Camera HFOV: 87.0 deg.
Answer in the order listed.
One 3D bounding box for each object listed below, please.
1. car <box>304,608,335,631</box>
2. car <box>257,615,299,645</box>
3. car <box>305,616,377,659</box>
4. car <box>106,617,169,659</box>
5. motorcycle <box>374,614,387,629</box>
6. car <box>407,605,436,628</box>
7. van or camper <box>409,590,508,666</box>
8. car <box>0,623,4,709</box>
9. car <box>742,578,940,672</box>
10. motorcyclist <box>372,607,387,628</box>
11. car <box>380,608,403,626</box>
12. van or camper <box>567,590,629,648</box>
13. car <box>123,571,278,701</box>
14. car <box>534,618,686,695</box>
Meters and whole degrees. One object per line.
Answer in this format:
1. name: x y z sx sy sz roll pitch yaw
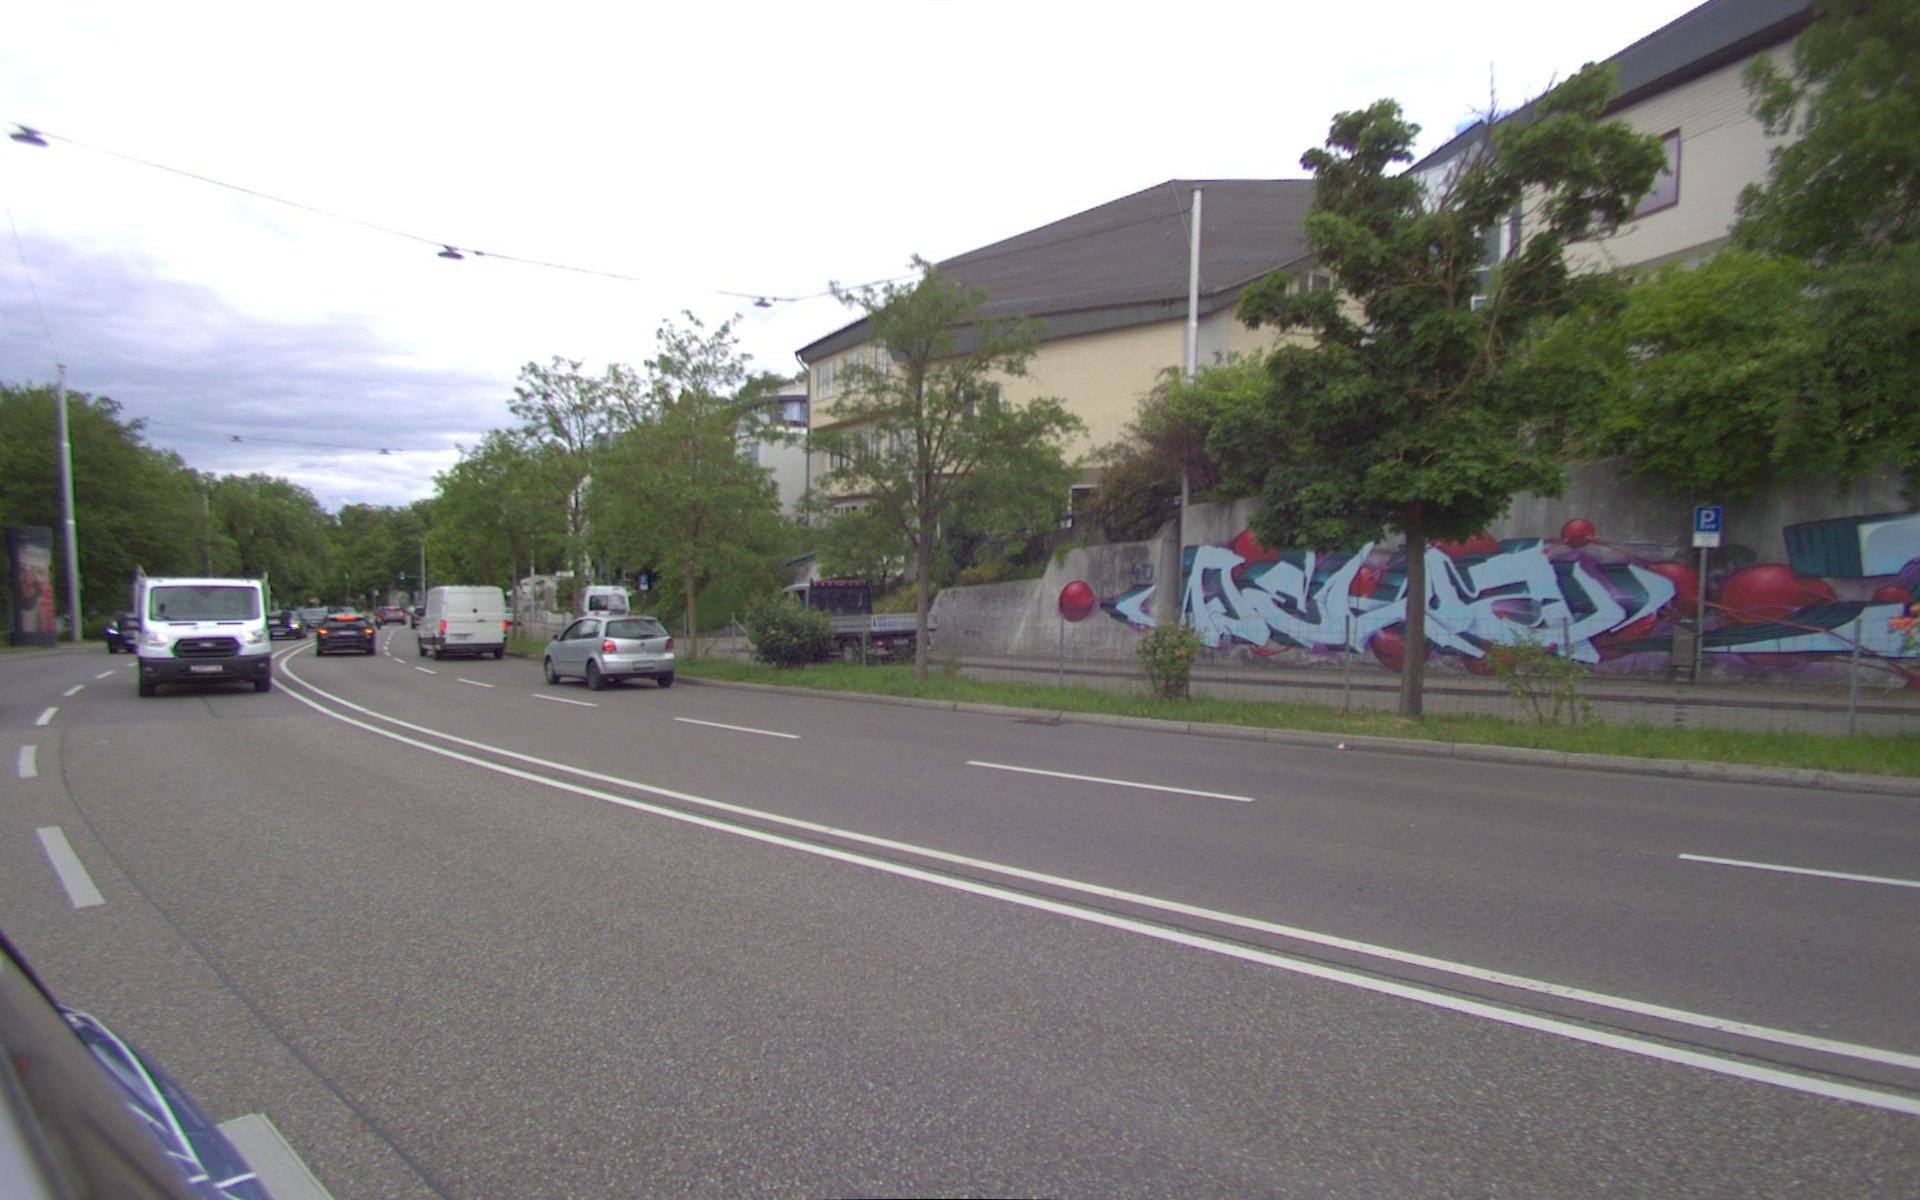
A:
1. car: -45.442 1.356 71.839 1.701 1.489 4.012 -2 1 -31
2. car: -35.548 1.548 52.770 1.709 1.422 4.011 -2 1 -34
3. car: -21.801 1.269 35.557 1.713 1.425 4.439 1 -1 -37
4. car: -30.715 1.374 37.767 1.708 1.421 4.007 -1 0 -40
5. motorcycle: -42.404 1.533 74.050 0.476 1.064 2.276 0 -1 -22
6. car: -39.117 1.203 73.563 1.760 1.587 4.482 1 -1 -28
7. van or camper: -16.645 0.881 33.417 1.982 2.278 5.976 0 -1 -36
8. car: -14.687 1.030 13.936 1.793 1.357 4.008 1 -1 -38
9. car: -3.442 0.628 27.882 2.240 2.290 6.336 0 0 -41
10. motorcyclist: -42.254 1.298 73.647 0.749 1.496 0.964 2 -2 -20
11. car: -50.275 1.481 89.471 1.760 1.550 4.088 0 0 -30
12. van or camper: -16.673 0.818 46.432 1.965 2.491 5.728 0 0 -27
13. car: -15.203 0.666 20.089 1.969 2.190 6.277 -1 -1 -41
14. car: -7.293 1.083 20.890 1.681 1.419 3.814 0 -1 -41
